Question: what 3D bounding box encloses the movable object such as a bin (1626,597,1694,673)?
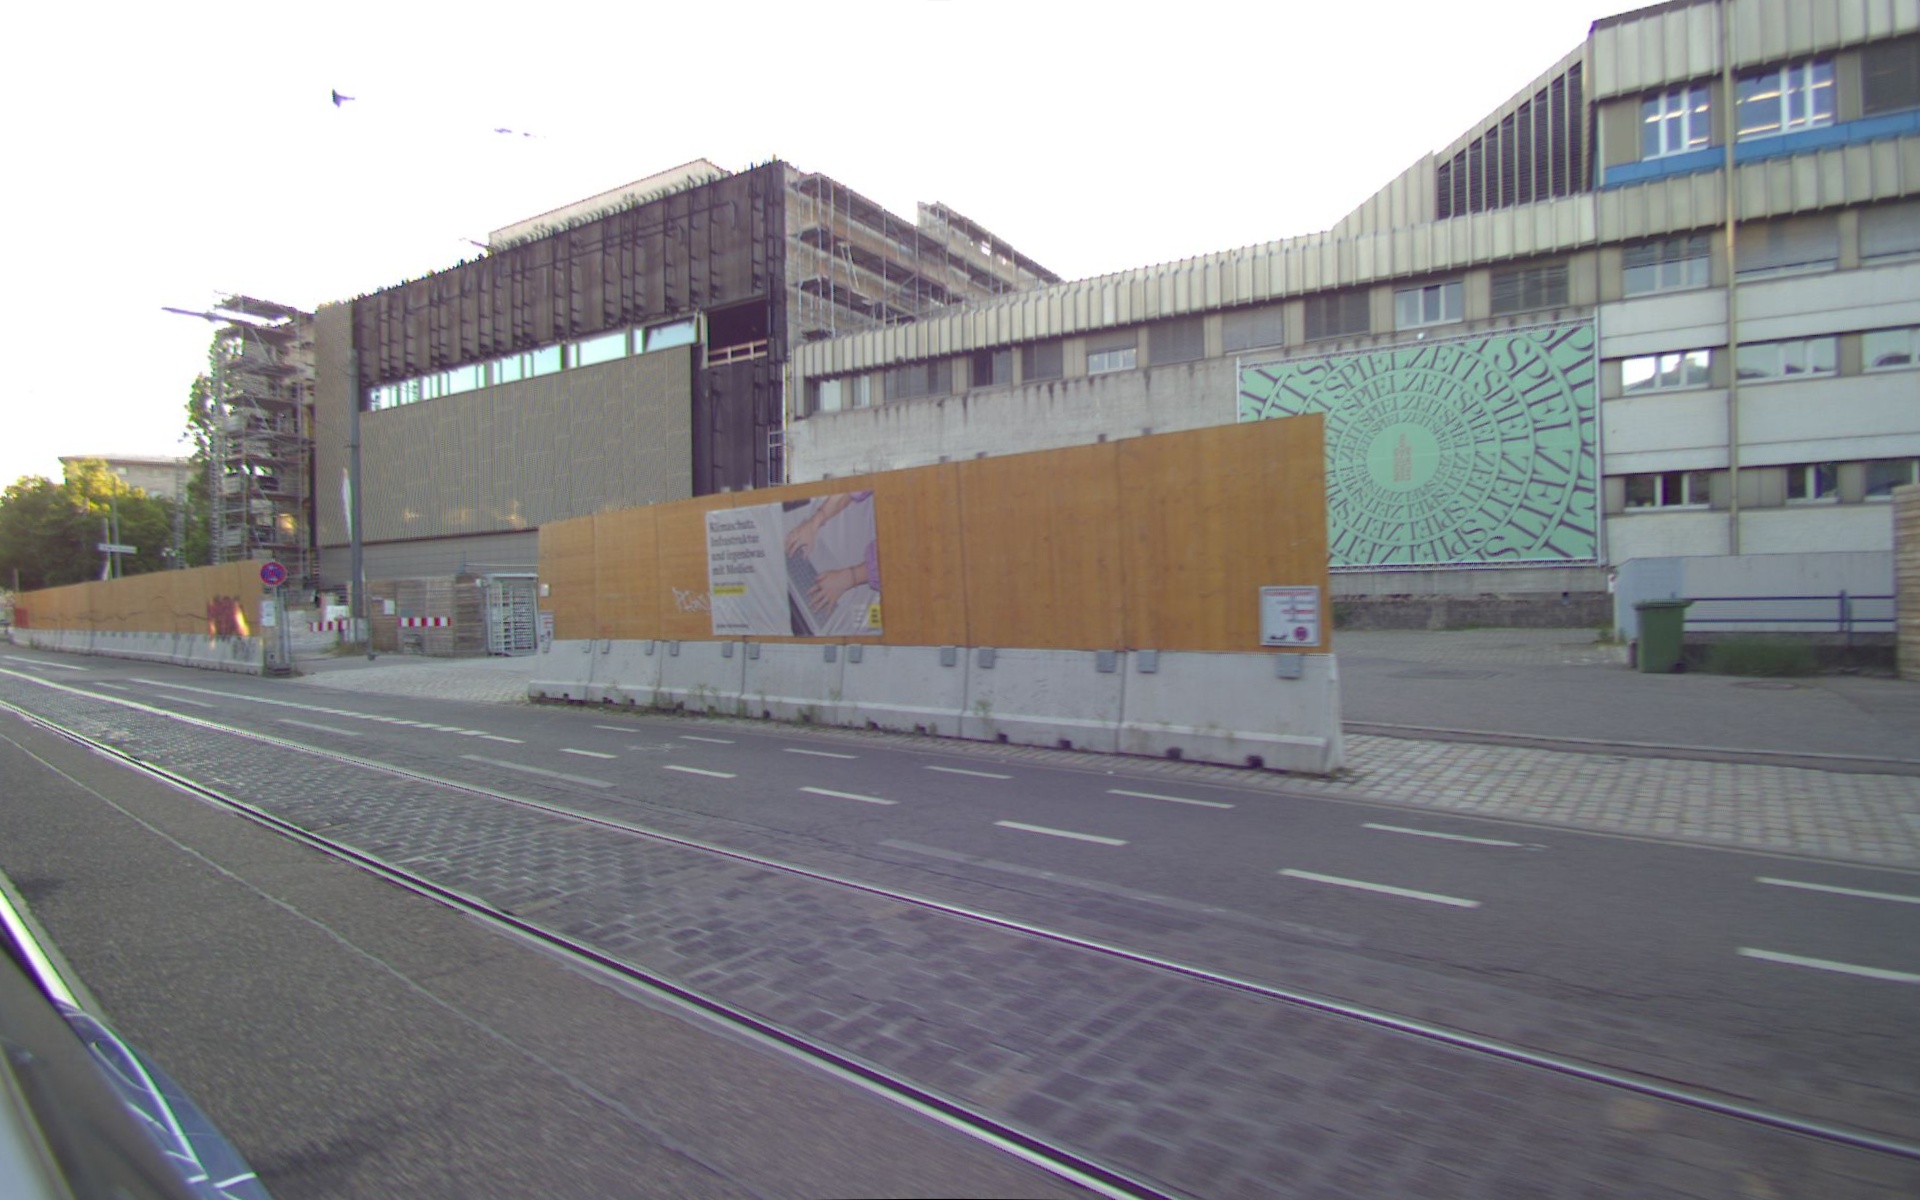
[{"bbox_3d":[10.023,0.486,14.516,0.760,1.043,0.832,-1,0,33],"label":"movable object such as a bin"}]
